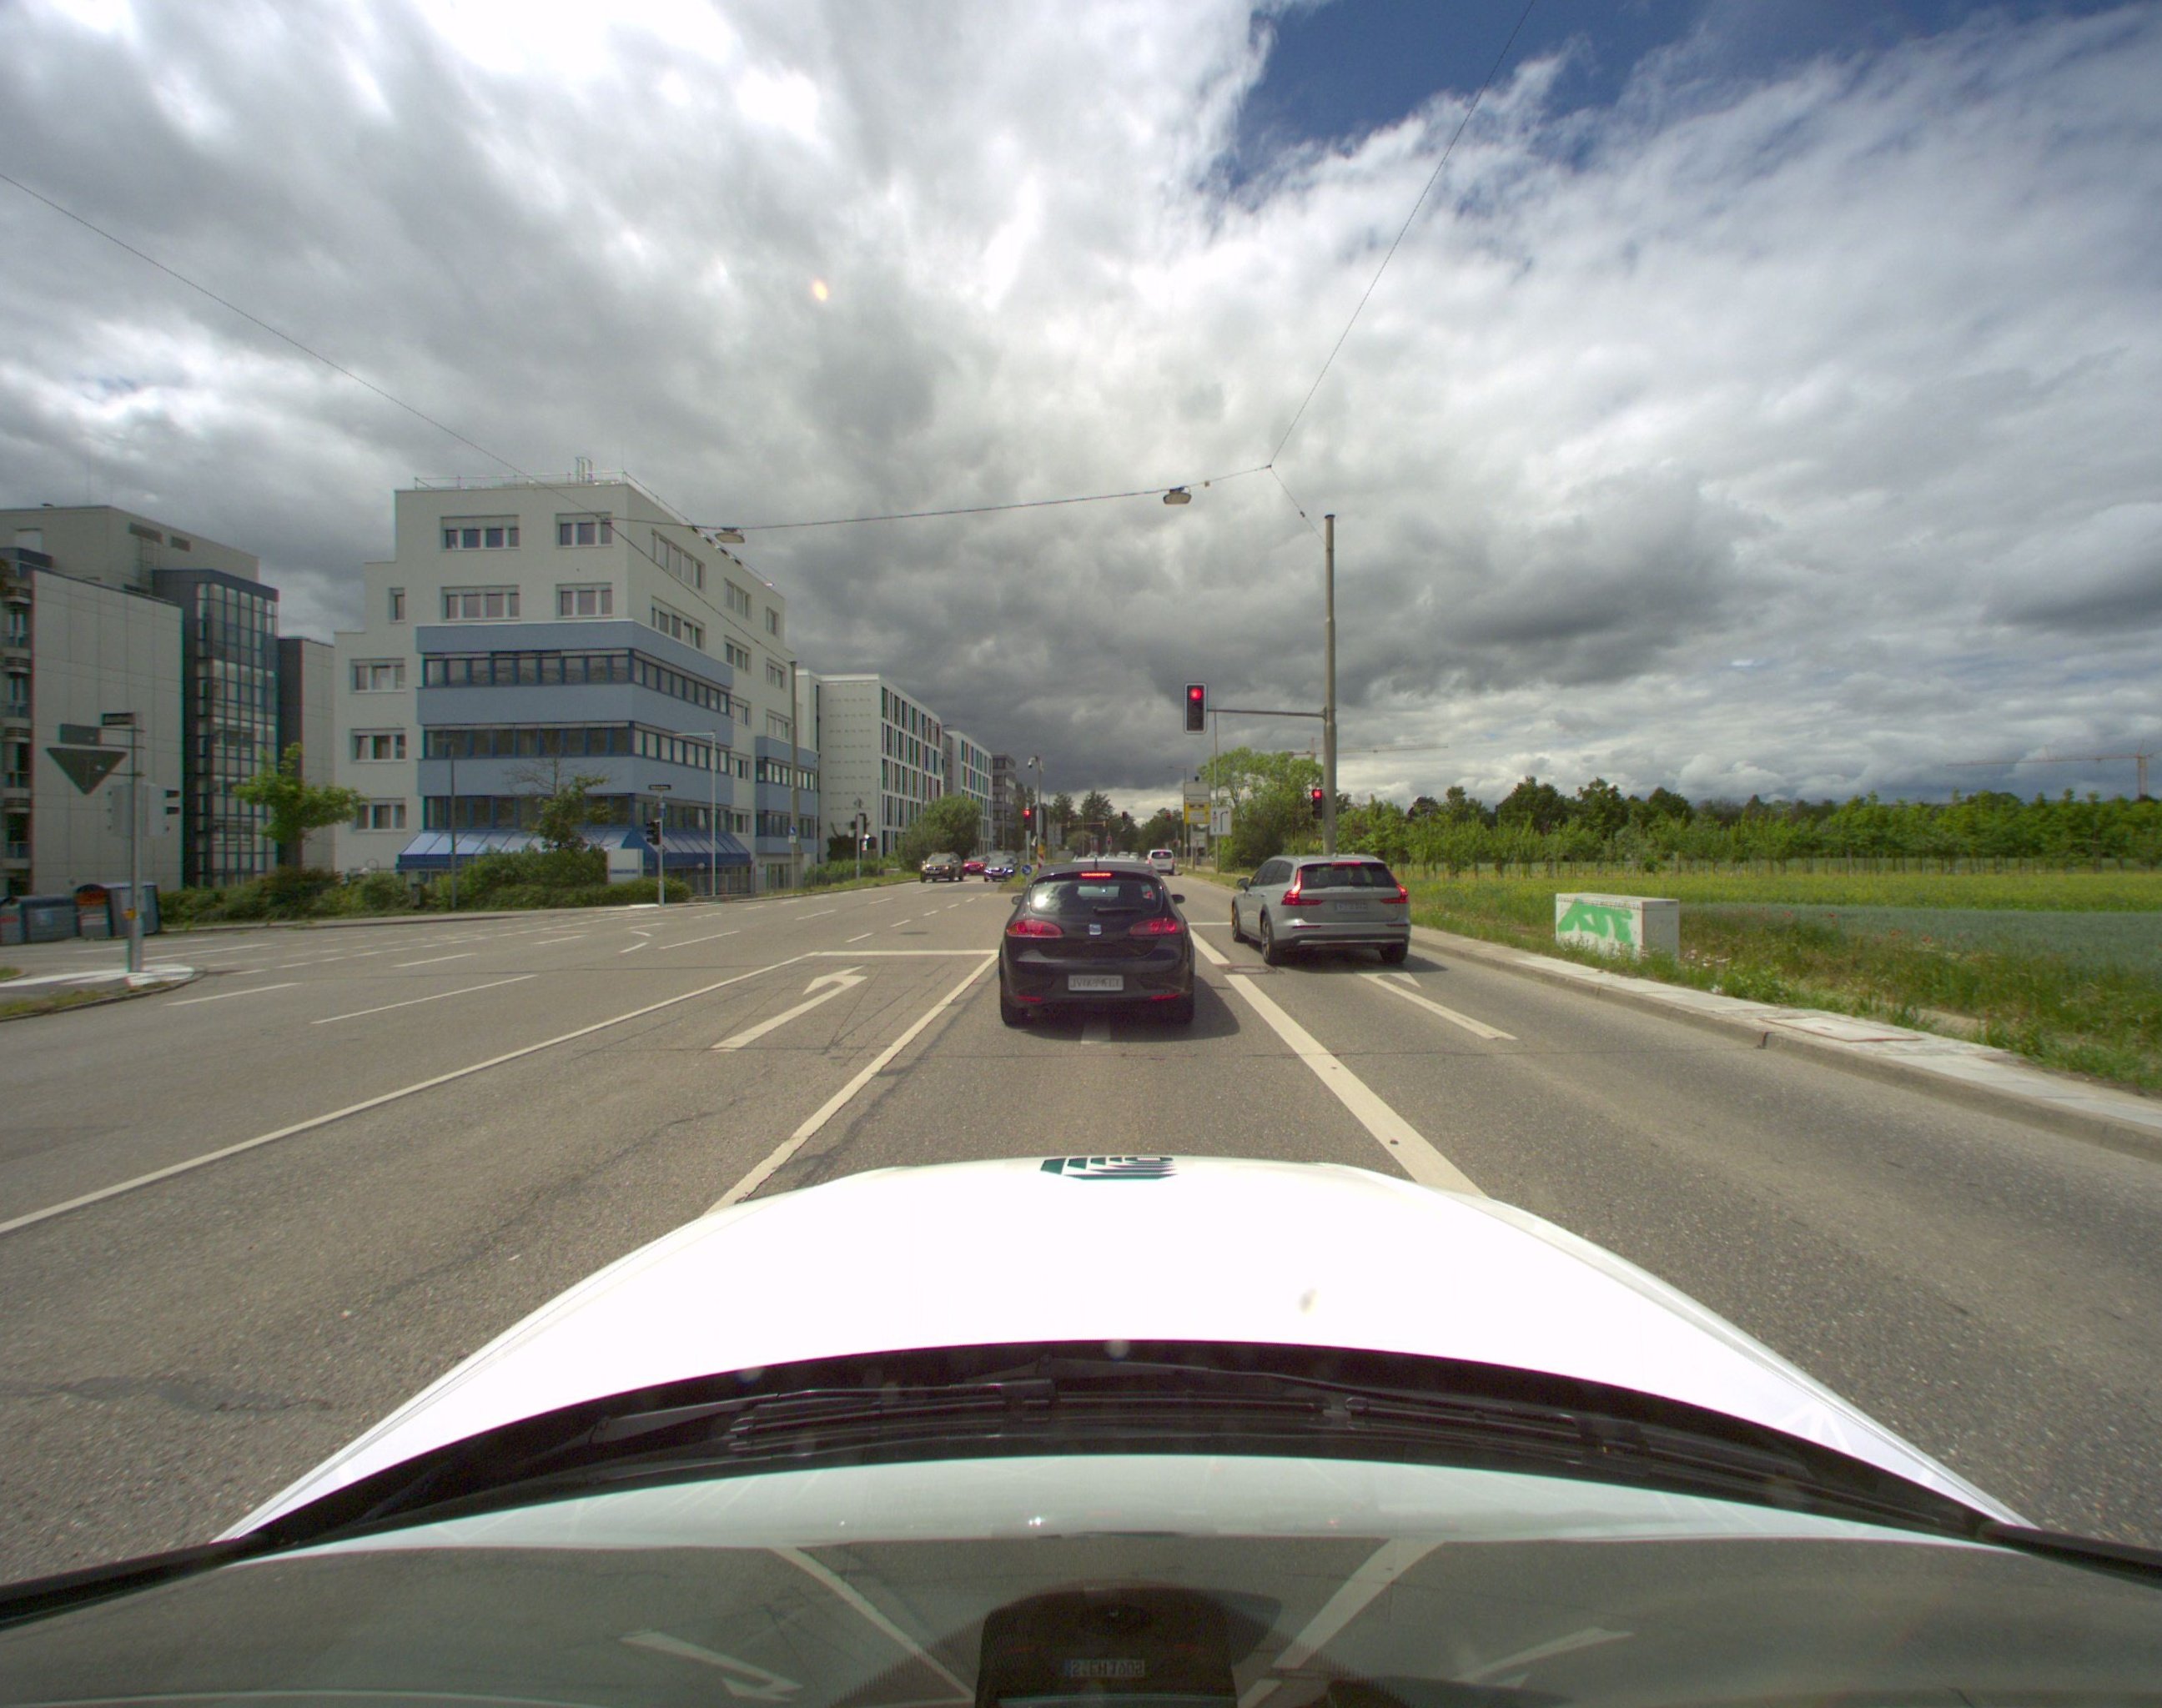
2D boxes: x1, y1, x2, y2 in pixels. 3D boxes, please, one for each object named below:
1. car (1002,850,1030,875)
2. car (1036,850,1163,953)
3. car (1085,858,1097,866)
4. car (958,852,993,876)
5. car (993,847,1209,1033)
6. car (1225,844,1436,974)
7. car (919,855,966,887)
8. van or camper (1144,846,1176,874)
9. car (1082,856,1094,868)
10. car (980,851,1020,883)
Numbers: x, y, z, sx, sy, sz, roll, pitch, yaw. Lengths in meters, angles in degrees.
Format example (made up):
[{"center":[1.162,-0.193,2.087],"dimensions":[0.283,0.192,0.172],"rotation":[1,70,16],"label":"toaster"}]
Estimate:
[{"center":[-5.357,0.715,67.696],"dimensions":[1.987,2.014,4.479],"rotation":[-1,-1,-1],"label":"car"},{"center":[0.336,0.749,14.836],"dimensions":[1.976,1.590,4.226],"rotation":[0,0,1],"label":"car"},{"center":[1.799,1.388,143.943],"dimensions":[1.986,1.409,4.001],"rotation":[-1,-1,2],"label":"car"},{"center":[-7.489,0.685,58.122],"dimensions":[1.769,1.612,4.001],"rotation":[-1,-1,2],"label":"car"},{"center":[0.338,0.704,8.592],"dimensions":[1.739,1.484,4.006],"rotation":[0,0,5],"label":"car"},{"center":[3.457,0.705,12.222],"dimensions":[1.950,1.525,4.342],"rotation":[-2,-1,2],"label":"car"},{"center":[-7.626,0.899,45.310],"dimensions":[1.744,1.631,4.002],"rotation":[-3,0,2],"label":"car"},{"center":[5.762,0.443,59.660],"dimensions":[1.893,1.926,3.998],"rotation":[-1,-1,-1],"label":"van or camper"},{"center":[1.192,1.462,143.985],"dimensions":[1.986,2.014,4.001],"rotation":[-1,-1,2],"label":"car"},{"center":[-4.450,0.695,45.207],"dimensions":[1.662,1.524,4.010],"rotation":[-3,1,2],"label":"car"}]
